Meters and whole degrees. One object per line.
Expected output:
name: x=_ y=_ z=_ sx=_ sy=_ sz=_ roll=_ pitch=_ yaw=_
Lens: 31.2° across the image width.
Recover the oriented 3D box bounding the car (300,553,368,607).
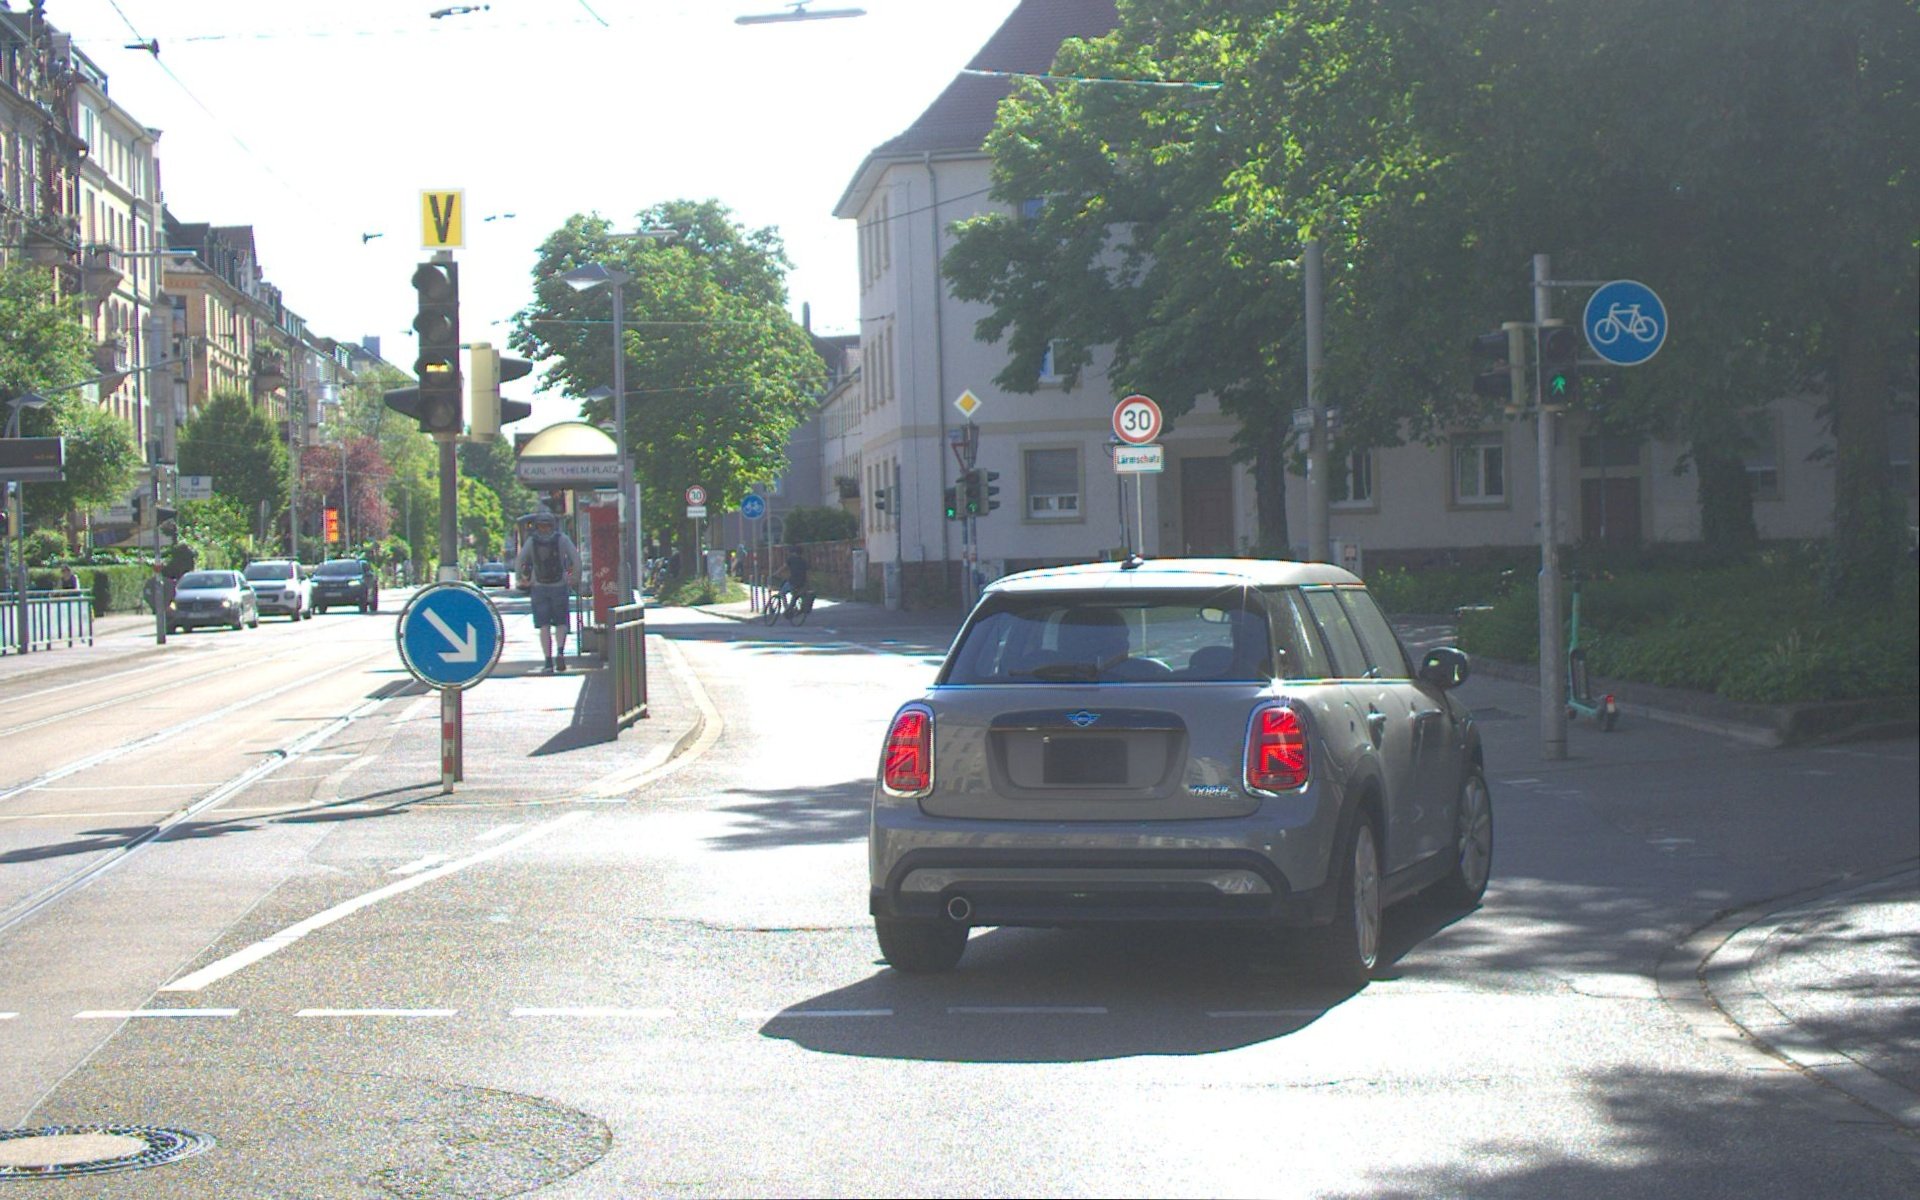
car: x=-19.007 y=-0.604 z=104.545 sx=1.775 sy=1.612 sz=4.001 roll=-1 pitch=0 yaw=-7

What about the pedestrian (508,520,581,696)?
pedestrian: x=-4.799 y=0.088 z=39.719 sx=0.795 sy=2.007 sz=0.740 roll=-1 pitch=0 yaw=-5

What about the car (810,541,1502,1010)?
car: x=0.913 y=0.553 z=13.038 sx=1.817 sy=1.483 sz=3.997 roll=-1 pitch=0 yaw=15

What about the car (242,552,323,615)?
car: x=-17.793 y=-0.433 z=90.451 sx=1.775 sy=1.612 sz=4.001 roll=-1 pitch=0 yaw=-7

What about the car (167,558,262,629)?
car: x=-17.405 y=-0.158 z=80.402 sx=1.775 sy=1.612 sz=4.001 roll=-1 pitch=0 yaw=-7

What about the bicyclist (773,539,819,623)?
bicyclist: x=-3.557 y=-0.413 z=74.453 sx=0.817 sy=1.805 sz=1.059 roll=-1 pitch=0 yaw=-13

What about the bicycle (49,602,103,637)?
bicycle: x=-19.058 y=0.418 z=74.151 sx=0.719 sy=0.747 sz=1.916 roll=-1 pitch=0 yaw=-1

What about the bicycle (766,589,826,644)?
bicycle: x=-3.555 y=0.351 z=74.451 sx=0.841 sy=1.152 sz=2.540 roll=-1 pitch=0 yaw=-13

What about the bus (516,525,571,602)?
bus: x=-19.319 y=-1.653 z=159.222 sx=2.385 sy=3.484 sz=7.386 roll=-1 pitch=0 yaw=-8

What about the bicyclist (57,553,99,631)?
bicyclist: x=-19.052 y=-0.176 z=74.259 sx=0.713 sy=1.660 sz=0.734 roll=-1 pitch=0 yaw=-1

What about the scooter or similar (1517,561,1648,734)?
scooter or similar: x=4.849 y=0.359 z=26.847 sx=0.676 sy=1.306 sz=1.329 roll=-1 pitch=0 yaw=-4

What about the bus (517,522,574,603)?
bus: x=-18.333 y=-1.609 z=151.869 sx=2.385 sy=3.484 sz=7.386 roll=-1 pitch=0 yaw=-8

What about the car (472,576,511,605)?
car: x=-26.228 y=-0.508 z=192.571 sx=1.993 sy=1.590 sz=4.001 roll=-1 pitch=0 yaw=-6
